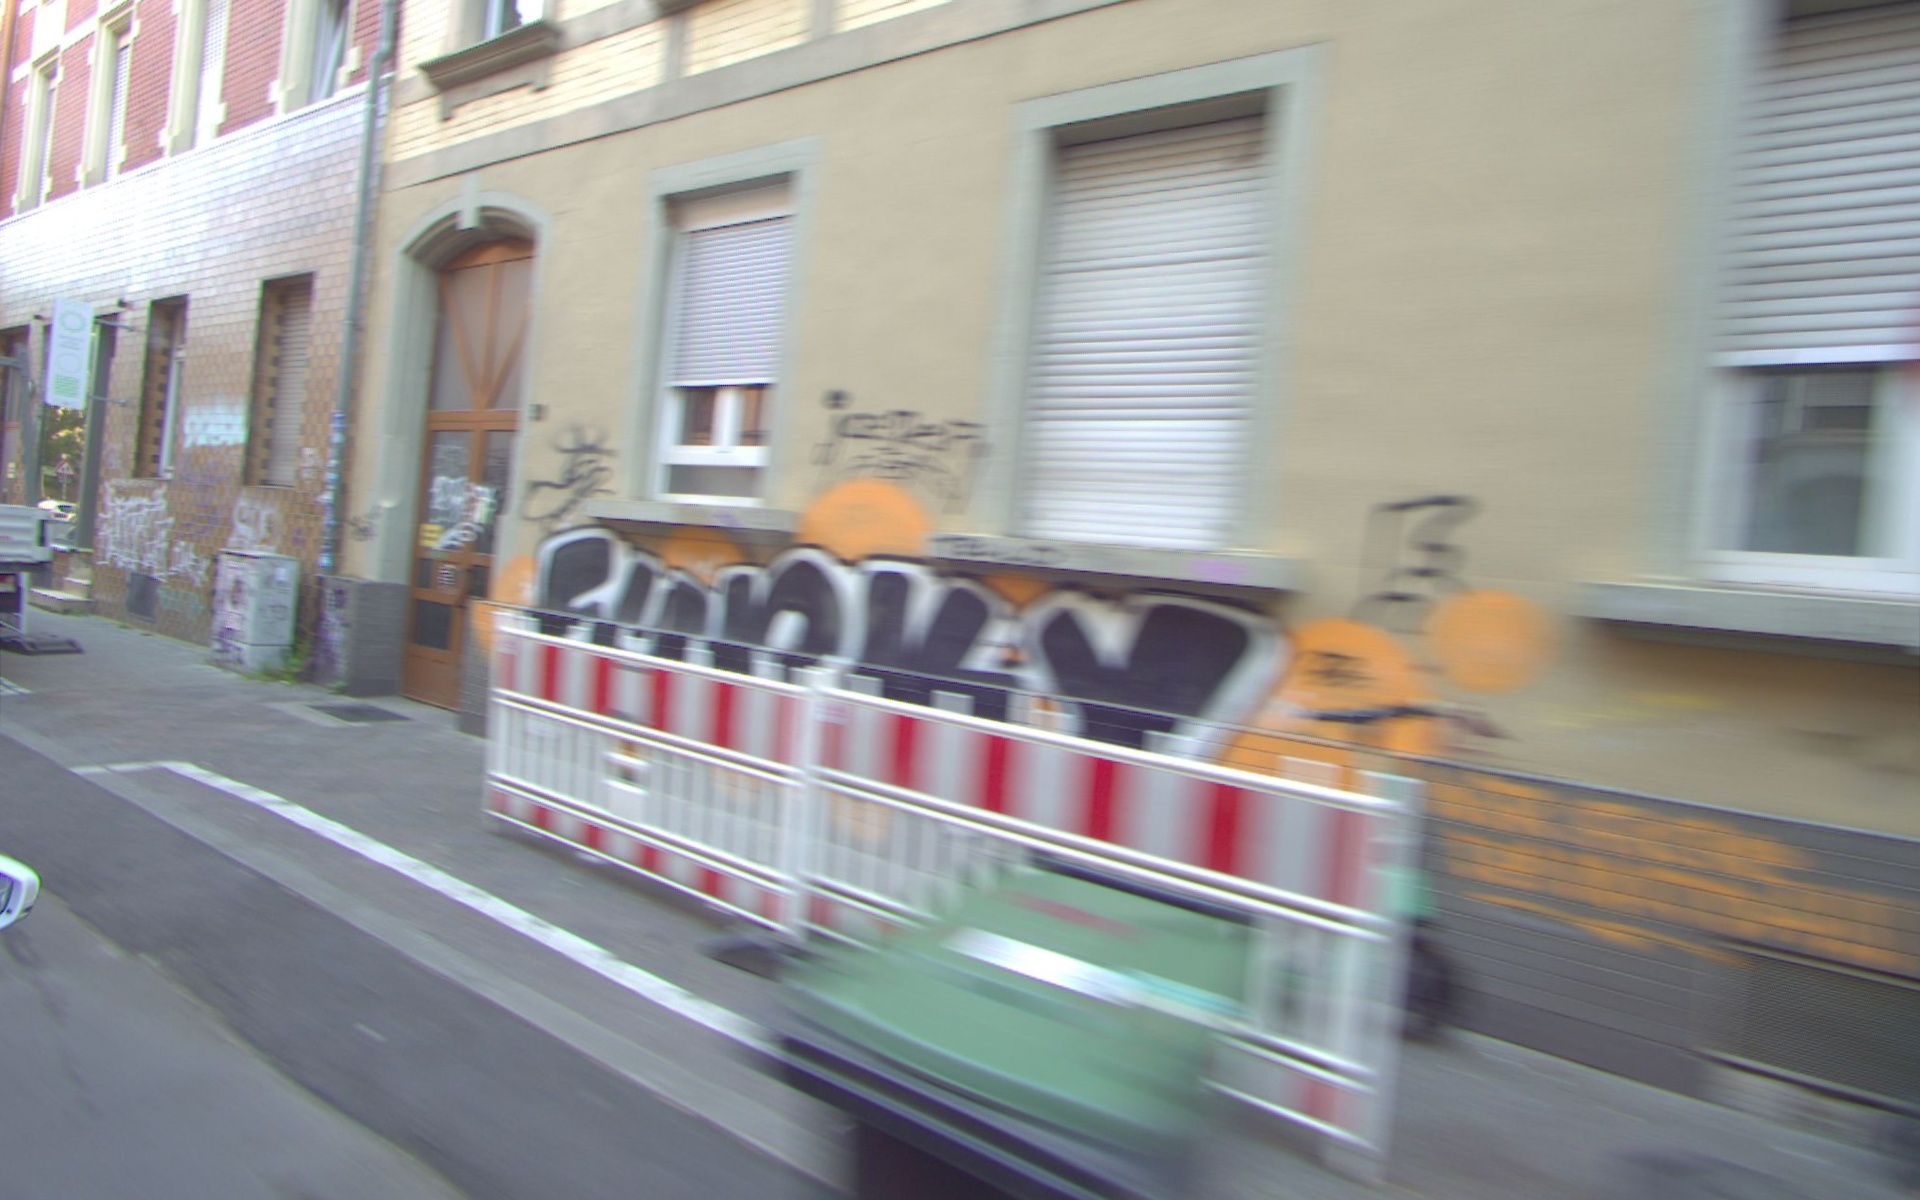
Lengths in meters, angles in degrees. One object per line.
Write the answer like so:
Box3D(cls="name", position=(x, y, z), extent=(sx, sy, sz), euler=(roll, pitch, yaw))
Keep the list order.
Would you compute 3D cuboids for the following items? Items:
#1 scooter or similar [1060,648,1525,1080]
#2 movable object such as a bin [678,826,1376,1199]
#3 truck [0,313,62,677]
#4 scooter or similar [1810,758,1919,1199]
Box3D(cls="scooter or similar", position=(1.159, 0.872, 3.681), extent=(1.417, 1.226, 0.455), euler=(6, 4, 21))
Box3D(cls="movable object such as a bin", position=(0.100, 0.969, 1.425), extent=(0.676, 1.071, 0.740), euler=(7, 1, 33))
Box3D(cls="truck", position=(-10.121, -1.053, 8.431), extent=(6.148, 2.695, 2.147), euler=(6, 4, 31))
Box3D(cls="scooter or similar", position=(3.173, 1.120, 2.537), extent=(1.421, 1.159, 0.387), euler=(7, 4, 33))
